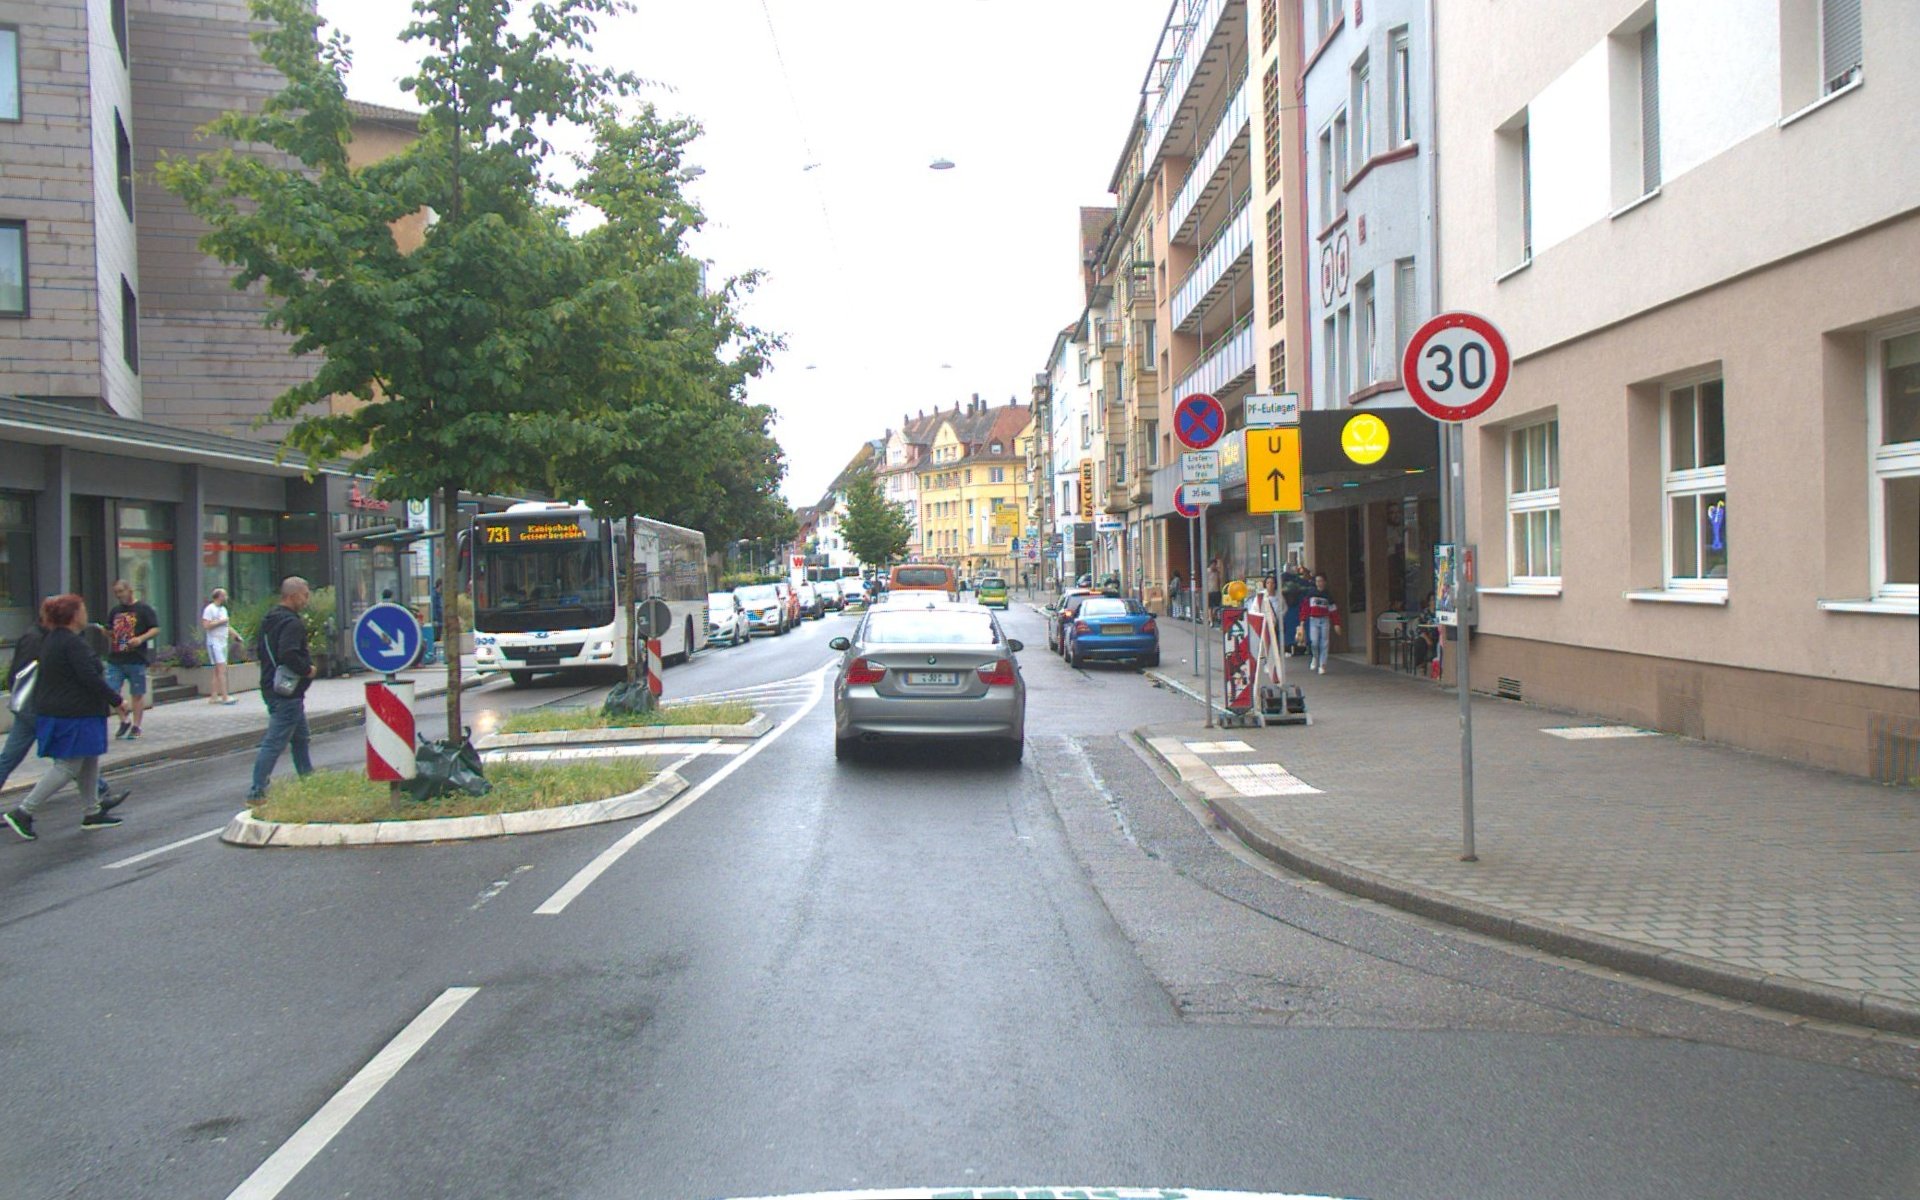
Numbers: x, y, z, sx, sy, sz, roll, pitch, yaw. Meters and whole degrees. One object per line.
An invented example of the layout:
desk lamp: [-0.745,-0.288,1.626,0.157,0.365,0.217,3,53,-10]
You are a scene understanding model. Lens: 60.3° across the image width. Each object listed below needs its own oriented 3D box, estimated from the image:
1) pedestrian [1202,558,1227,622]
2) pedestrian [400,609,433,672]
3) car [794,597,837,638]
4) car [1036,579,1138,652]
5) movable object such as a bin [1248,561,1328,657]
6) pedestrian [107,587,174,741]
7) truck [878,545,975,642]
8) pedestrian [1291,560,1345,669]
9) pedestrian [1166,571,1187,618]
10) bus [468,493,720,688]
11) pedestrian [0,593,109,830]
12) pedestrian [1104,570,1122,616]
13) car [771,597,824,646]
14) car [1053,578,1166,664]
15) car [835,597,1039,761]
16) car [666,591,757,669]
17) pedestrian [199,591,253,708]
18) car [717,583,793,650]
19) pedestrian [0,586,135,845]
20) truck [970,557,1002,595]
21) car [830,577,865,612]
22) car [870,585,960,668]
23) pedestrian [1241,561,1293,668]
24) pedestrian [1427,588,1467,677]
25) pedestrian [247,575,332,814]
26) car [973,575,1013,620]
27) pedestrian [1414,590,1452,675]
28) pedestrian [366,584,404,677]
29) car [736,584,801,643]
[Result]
pedestrian: [6.924,-0.260,44.989,0.602,1.690,0.755,1,-2,6]
pedestrian: [-10.963,0.813,33.372,0.455,1.252,0.544,1,-2,1]
car: [-7.601,0.937,87.219,1.953,2.049,3.999,1,-2,-1]
car: [2.858,0.398,38.043,1.953,1.546,3.999,1,-2,-1]
movable object such as a bin: [6.164,0.181,31.190,1.100,1.732,1.433,-2,-2,-2]
pedestrian: [-9.824,0.766,19.839,0.533,1.821,0.465,2,-2,-9]
truck: [-0.871,-0.109,40.895,2.171,2.154,4.649,2,-1,-2]
pedestrian: [5.688,0.230,26.298,0.734,1.690,0.755,1,-2,6]
pedestrian: [6.829,-0.154,52.149,0.552,1.446,0.797,1,-2,13]
bus: [-7.084,-0.006,34.104,2.626,3.257,11.952,1,-2,-1]
pedestrian: [-7.218,0.830,12.693,1.043,1.762,0.712,0,0,-10]
pedestrian: [4.807,-0.218,51.906,0.511,1.446,0.430,1,-2,9]
car: [-7.151,0.962,72.995,1.953,2.049,3.999,1,-2,-1]
car: [2.860,0.446,32.463,1.772,1.546,3.999,1,-2,-1]
car: [-0.196,0.663,15.536,1.720,1.386,3.164,0,0,0]
car: [-6.951,0.872,46.649,1.953,2.049,3.999,1,-2,-1]
pedestrian: [-11.109,0.744,25.018,0.650,1.735,0.656,2,-2,-28]
car: [-6.561,0.563,53.226,1.953,2.049,3.999,1,-2,-1]
pedestrian: [-6.365,0.795,11.774,0.729,1.739,0.676,-3,0,-21]
truck: [1.920,-1.767,123.725,2.171,2.589,4.778,1,-2,-1]
car: [-7.142,-0.344,105.573,1.953,2.049,3.999,1,-2,-1]
car: [-0.864,0.512,31.015,1.569,1.445,3.286,1,-2,-2]
pedestrian: [4.992,0.241,26.916,0.733,1.690,0.837,1,-2,6]
pedestrian: [6.885,0.459,23.394,0.404,1.224,0.357,-3,1,2]
pedestrian: [-5.090,0.705,12.581,0.458,1.738,0.541,-4,0,-20]
car: [1.610,-0.087,81.879,1.671,2.049,3.998,1,-2,-2]
pedestrian: [6.989,0.471,24.450,0.404,1.224,0.357,-3,1,2]
pedestrian: [-10.949,0.581,31.508,0.532,1.739,0.465,2,-2,-7]
car: [-7.047,0.537,61.256,1.953,2.049,3.999,1,-2,-1]
